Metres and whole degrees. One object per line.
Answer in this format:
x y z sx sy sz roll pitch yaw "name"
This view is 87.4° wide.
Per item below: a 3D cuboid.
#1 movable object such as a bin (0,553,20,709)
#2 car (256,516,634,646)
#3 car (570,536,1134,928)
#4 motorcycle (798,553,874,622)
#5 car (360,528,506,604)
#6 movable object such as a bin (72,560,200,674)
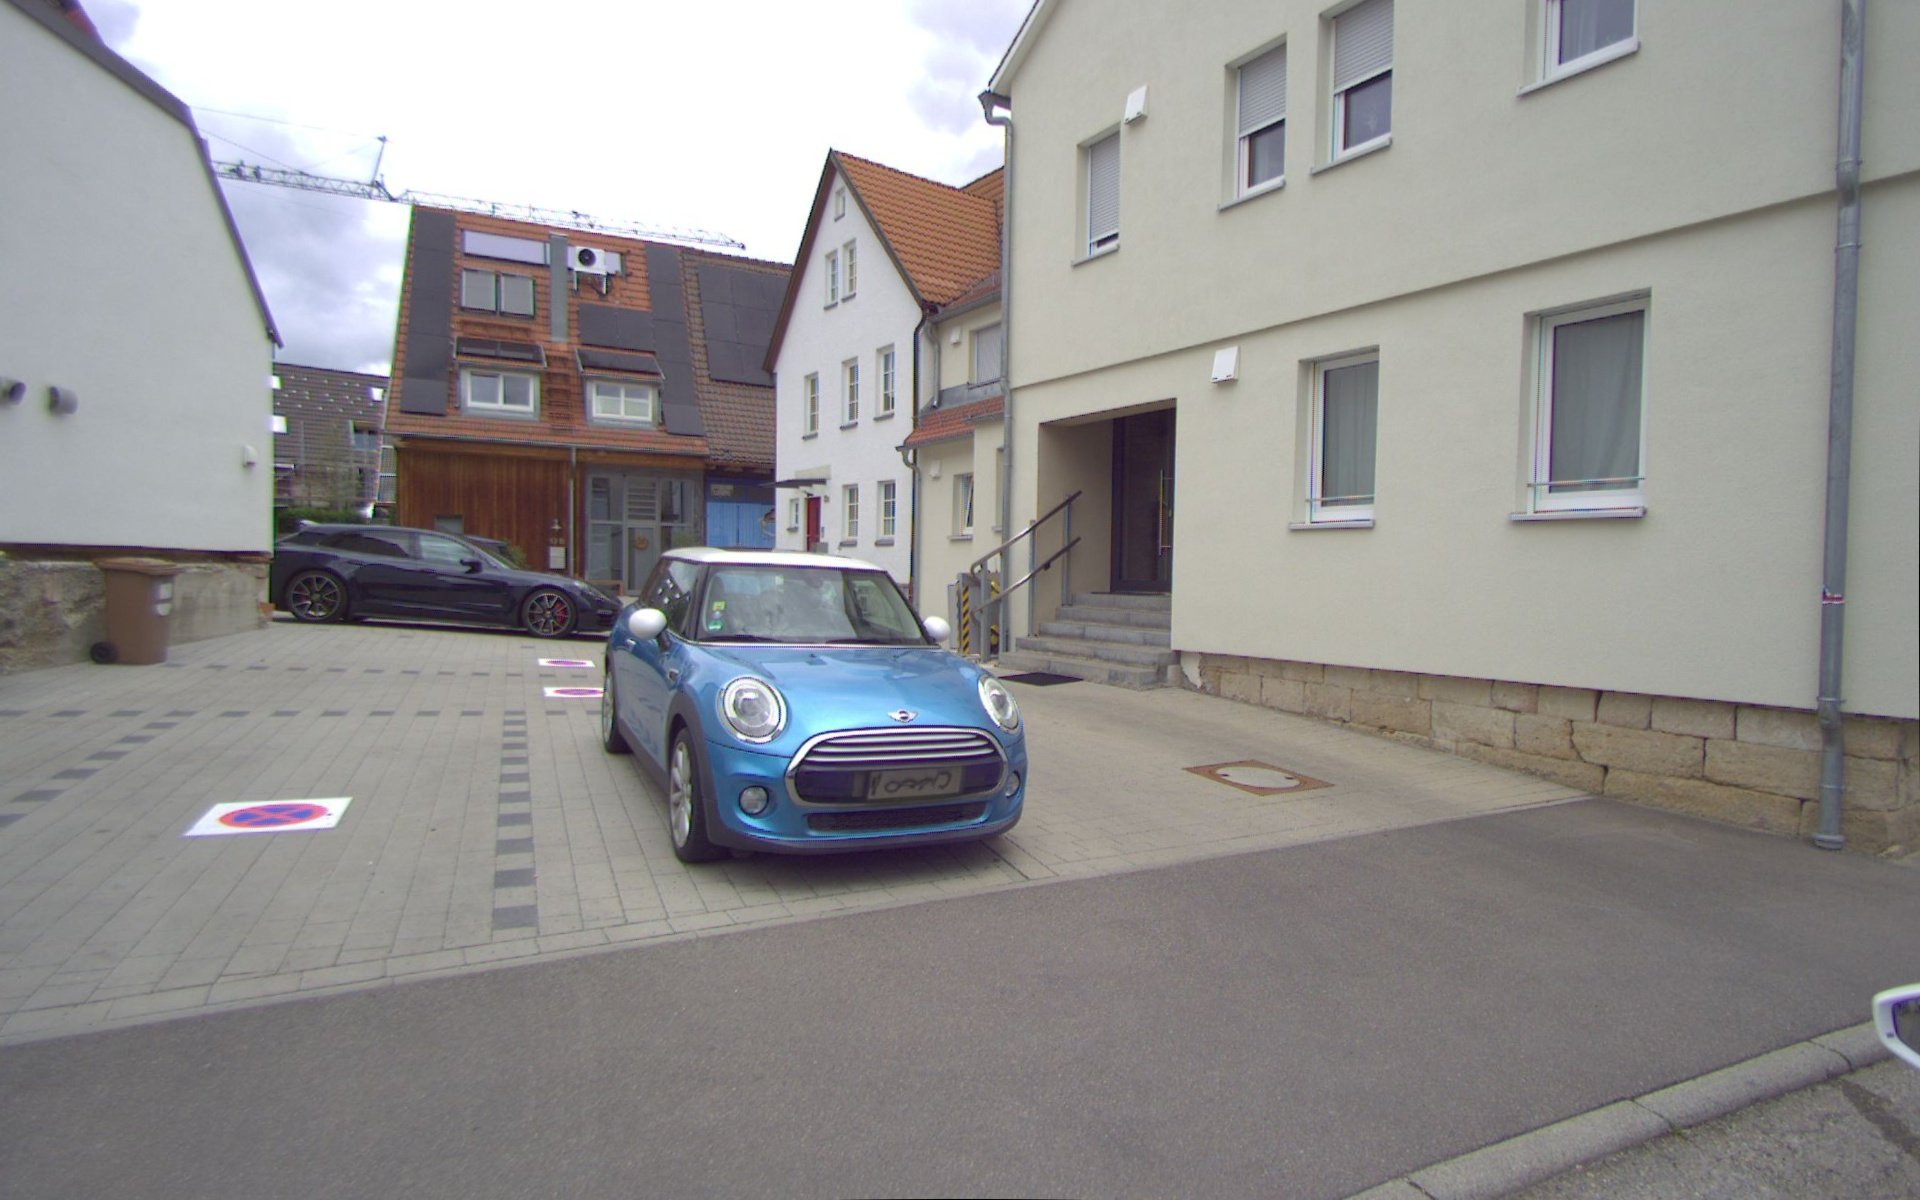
-7.039 0.213 6.858 0.712 1.090 0.555 2 2 -11 "movable object such as a bin"
-7.240 -0.243 14.642 4.499 1.424 1.792 4 0 -14 "car"
-0.977 0.439 5.895 2.093 1.430 3.717 3 3 -26 "car"
-2.598 -0.285 20.886 0.778 1.296 1.977 1 4 -32 "motorcycle"
-12.631 -0.814 24.092 2.870 1.649 1.723 1 3 -36 "car"
-7.395 0.145 9.040 0.680 0.964 0.555 2 1 -10 "movable object such as a bin"
